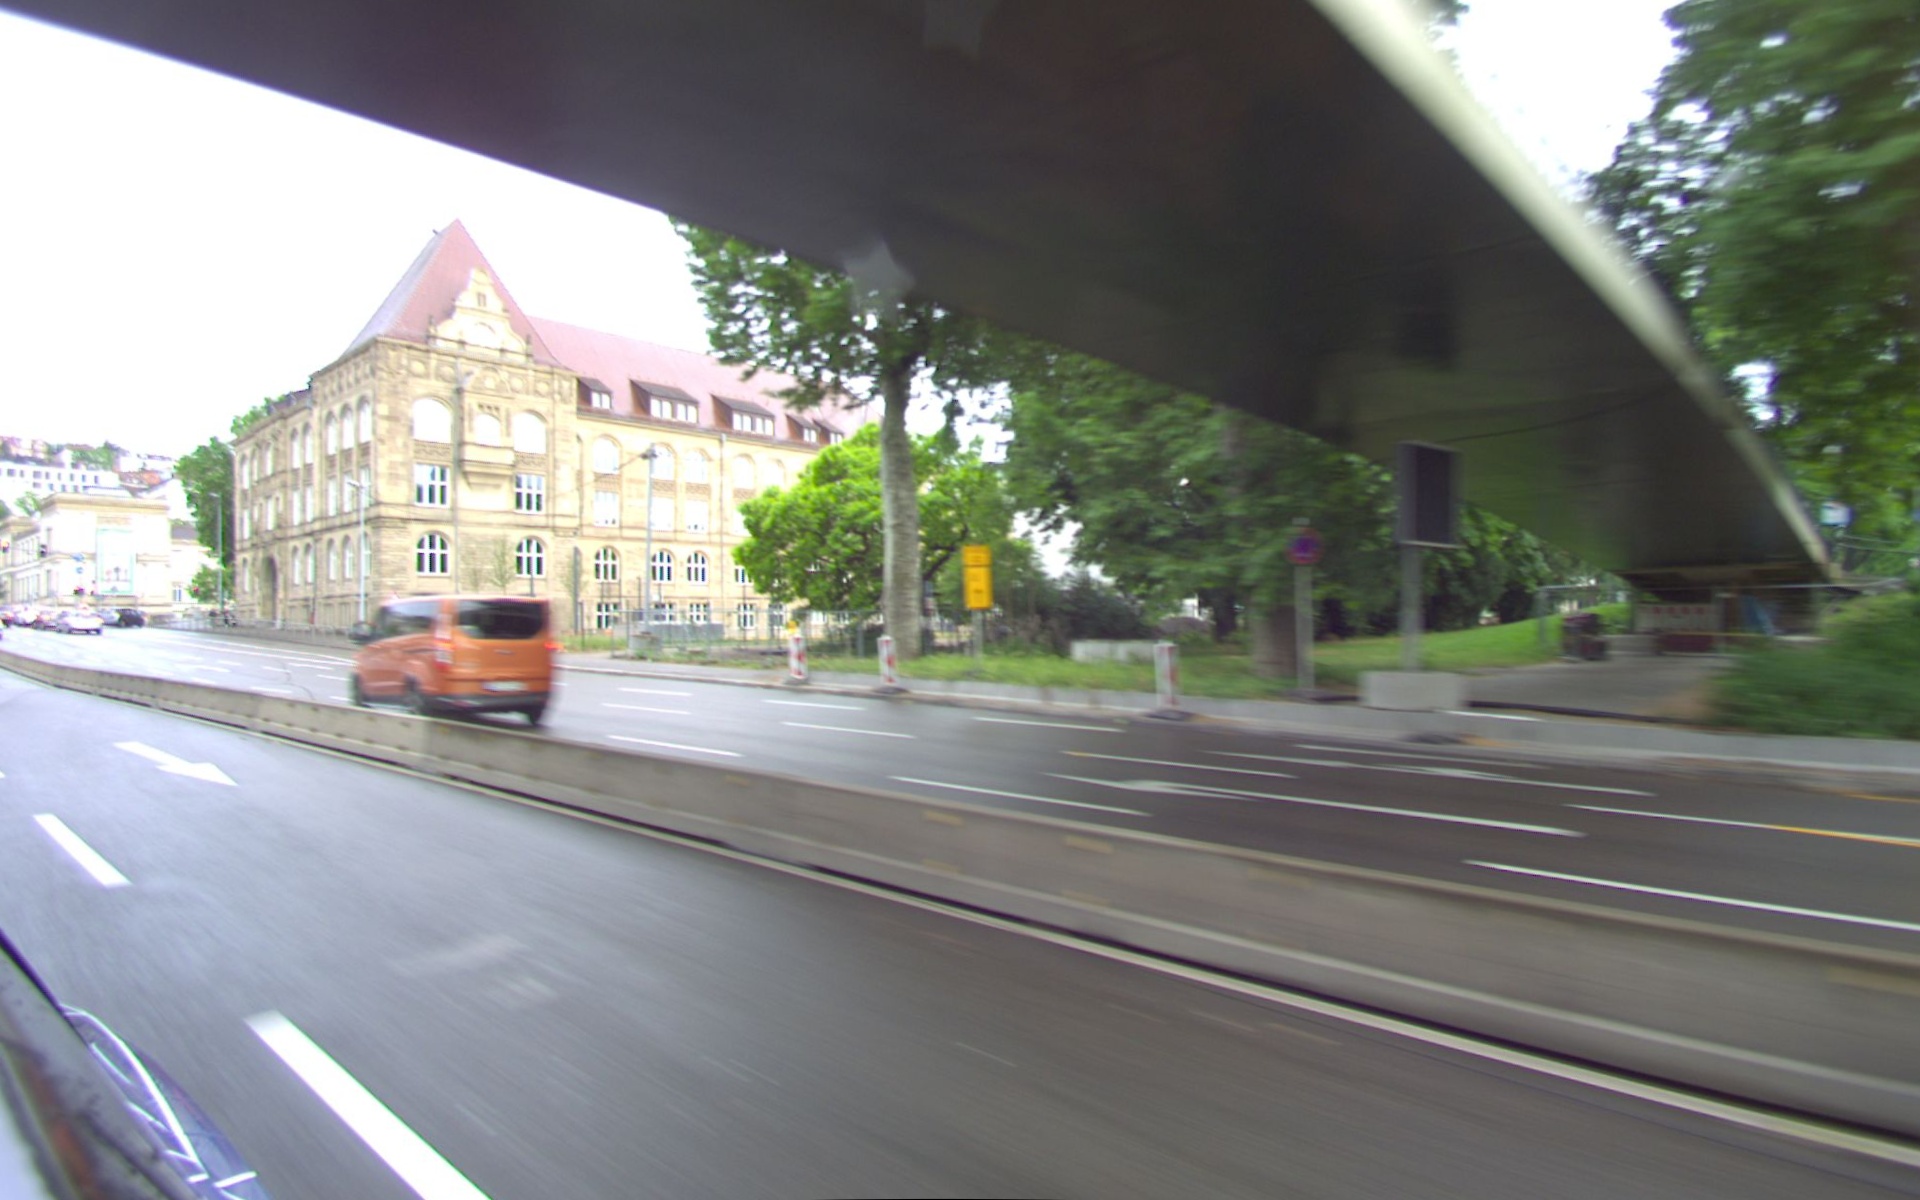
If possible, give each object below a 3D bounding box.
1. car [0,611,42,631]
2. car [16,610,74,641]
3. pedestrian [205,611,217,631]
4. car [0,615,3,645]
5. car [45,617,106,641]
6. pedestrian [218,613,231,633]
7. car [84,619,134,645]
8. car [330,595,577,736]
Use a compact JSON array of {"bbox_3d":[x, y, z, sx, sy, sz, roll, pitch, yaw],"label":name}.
[{"bbox_3d":[-69.193,1.524,74.178,4.204,1.393,1.975,1,-2,37],"label":"car"},{"bbox_3d":[-63.742,1.787,70.473,3.988,2.029,1.978,1,-2,33],"label":"car"},{"bbox_3d":[-60.602,1.689,81.890,0.734,1.596,0.610,0,-2,41],"label":"pedestrian"},{"bbox_3d":[-52.905,1.533,54.063,4.893,1.579,1.875,0,-2,39],"label":"car"},{"bbox_3d":[-57.401,1.877,65.661,4.202,1.393,1.976,1,-2,35],"label":"car"},{"bbox_3d":[-59.807,1.843,82.319,0.733,1.596,0.611,1,-2,33],"label":"pedestrian"},{"bbox_3d":[-69.517,2.604,82.631,3.988,2.029,1.978,1,-2,33],"label":"car"},{"bbox_3d":[-8.382,0.942,16.502,5.046,1.951,2.008,0,-2,44],"label":"car"}]
